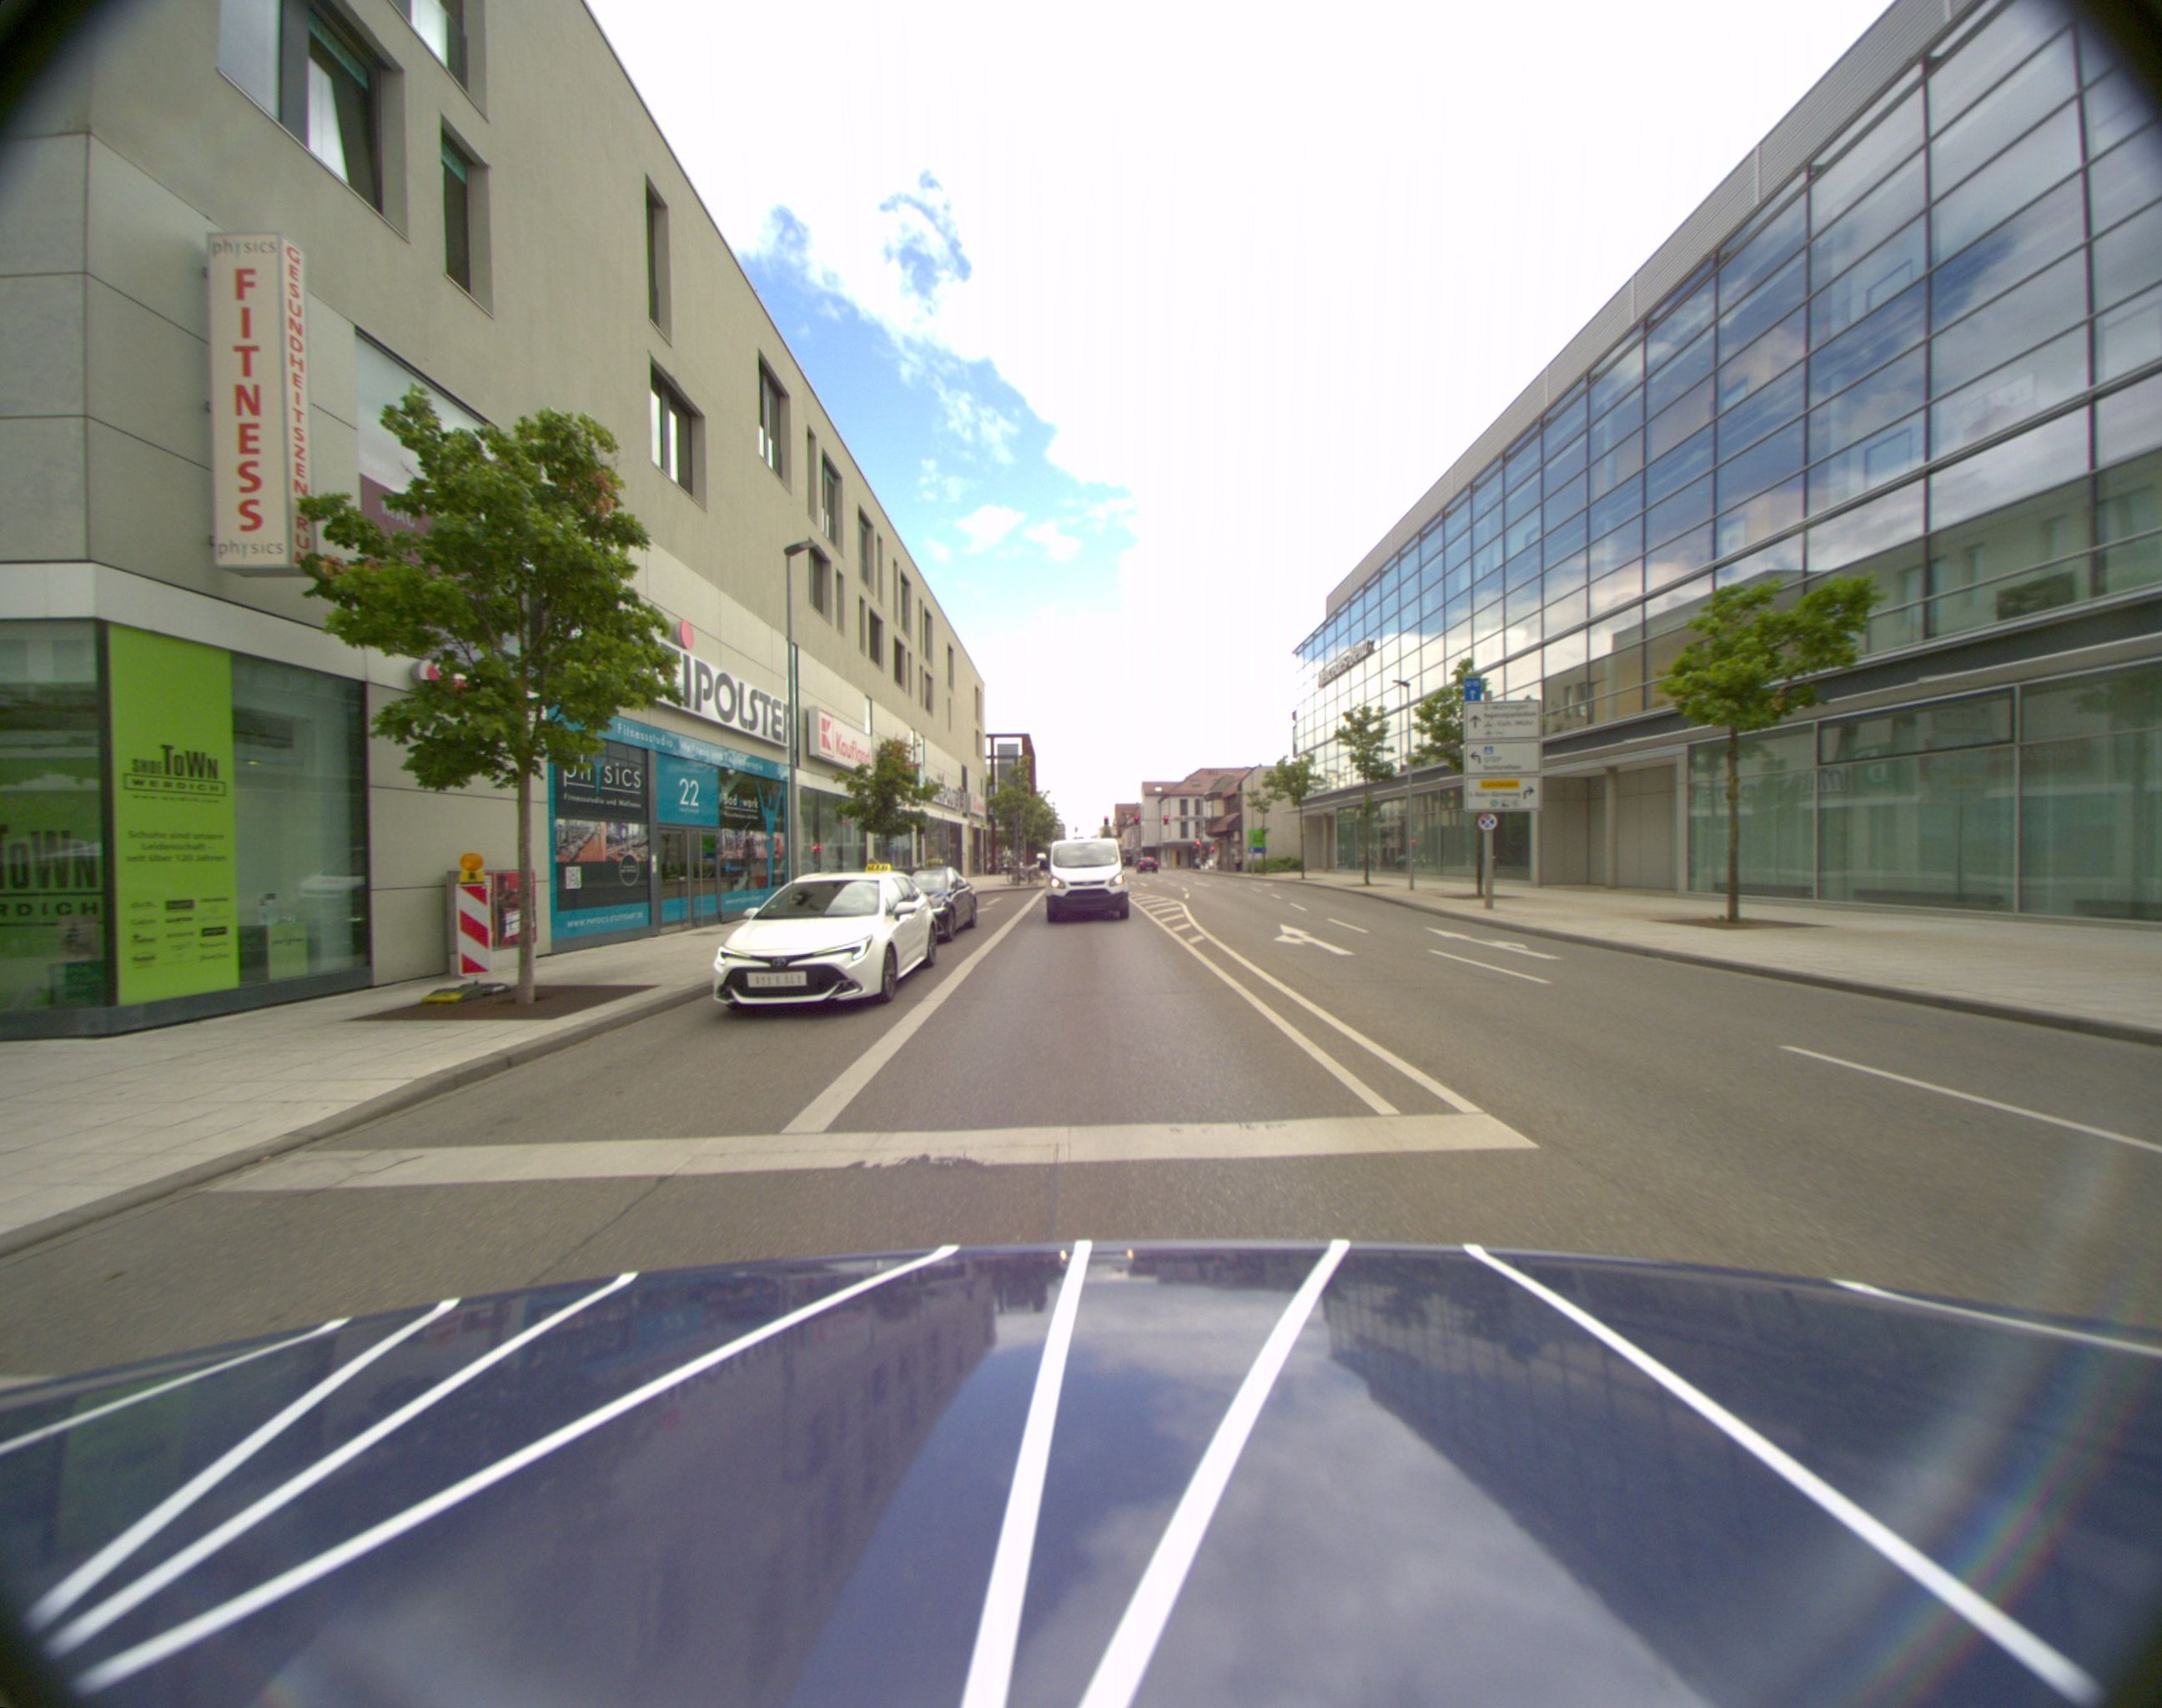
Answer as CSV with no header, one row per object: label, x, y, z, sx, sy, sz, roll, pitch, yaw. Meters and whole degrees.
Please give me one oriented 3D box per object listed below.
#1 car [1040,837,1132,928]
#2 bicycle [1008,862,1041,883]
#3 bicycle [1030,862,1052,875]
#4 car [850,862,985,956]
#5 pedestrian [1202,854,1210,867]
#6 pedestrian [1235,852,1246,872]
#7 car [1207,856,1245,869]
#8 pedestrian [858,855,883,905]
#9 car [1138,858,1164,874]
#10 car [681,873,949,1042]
car,0.123,0.630,19.756,2.000,1.976,5.000,-3,0,0
bicycle,-3.032,0.982,40.811,1.745,1.093,0.561,1,0,-7
bicycle,-3.211,1.163,60.913,1.745,1.015,0.451,0,0,-6
car,-3.251,1.018,16.097,1.741,1.533,4.790,-3,0,0
pedestrian,14.001,0.725,85.199,0.555,1.507,0.582,-1,1,-32
pedestrian,12.899,0.620,61.488,0.702,1.614,0.693,-1,0,0
car,17.152,1.027,89.877,3.989,1.458,1.943,0,0,34
pedestrian,-6.718,0.823,24.304,0.590,1.558,0.732,1,0,0
car,6.688,1.156,72.964,1.803,1.458,3.998,0,0,-5
car,-2.930,1.049,9.528,1.787,1.417,4.514,-2,0,-1
